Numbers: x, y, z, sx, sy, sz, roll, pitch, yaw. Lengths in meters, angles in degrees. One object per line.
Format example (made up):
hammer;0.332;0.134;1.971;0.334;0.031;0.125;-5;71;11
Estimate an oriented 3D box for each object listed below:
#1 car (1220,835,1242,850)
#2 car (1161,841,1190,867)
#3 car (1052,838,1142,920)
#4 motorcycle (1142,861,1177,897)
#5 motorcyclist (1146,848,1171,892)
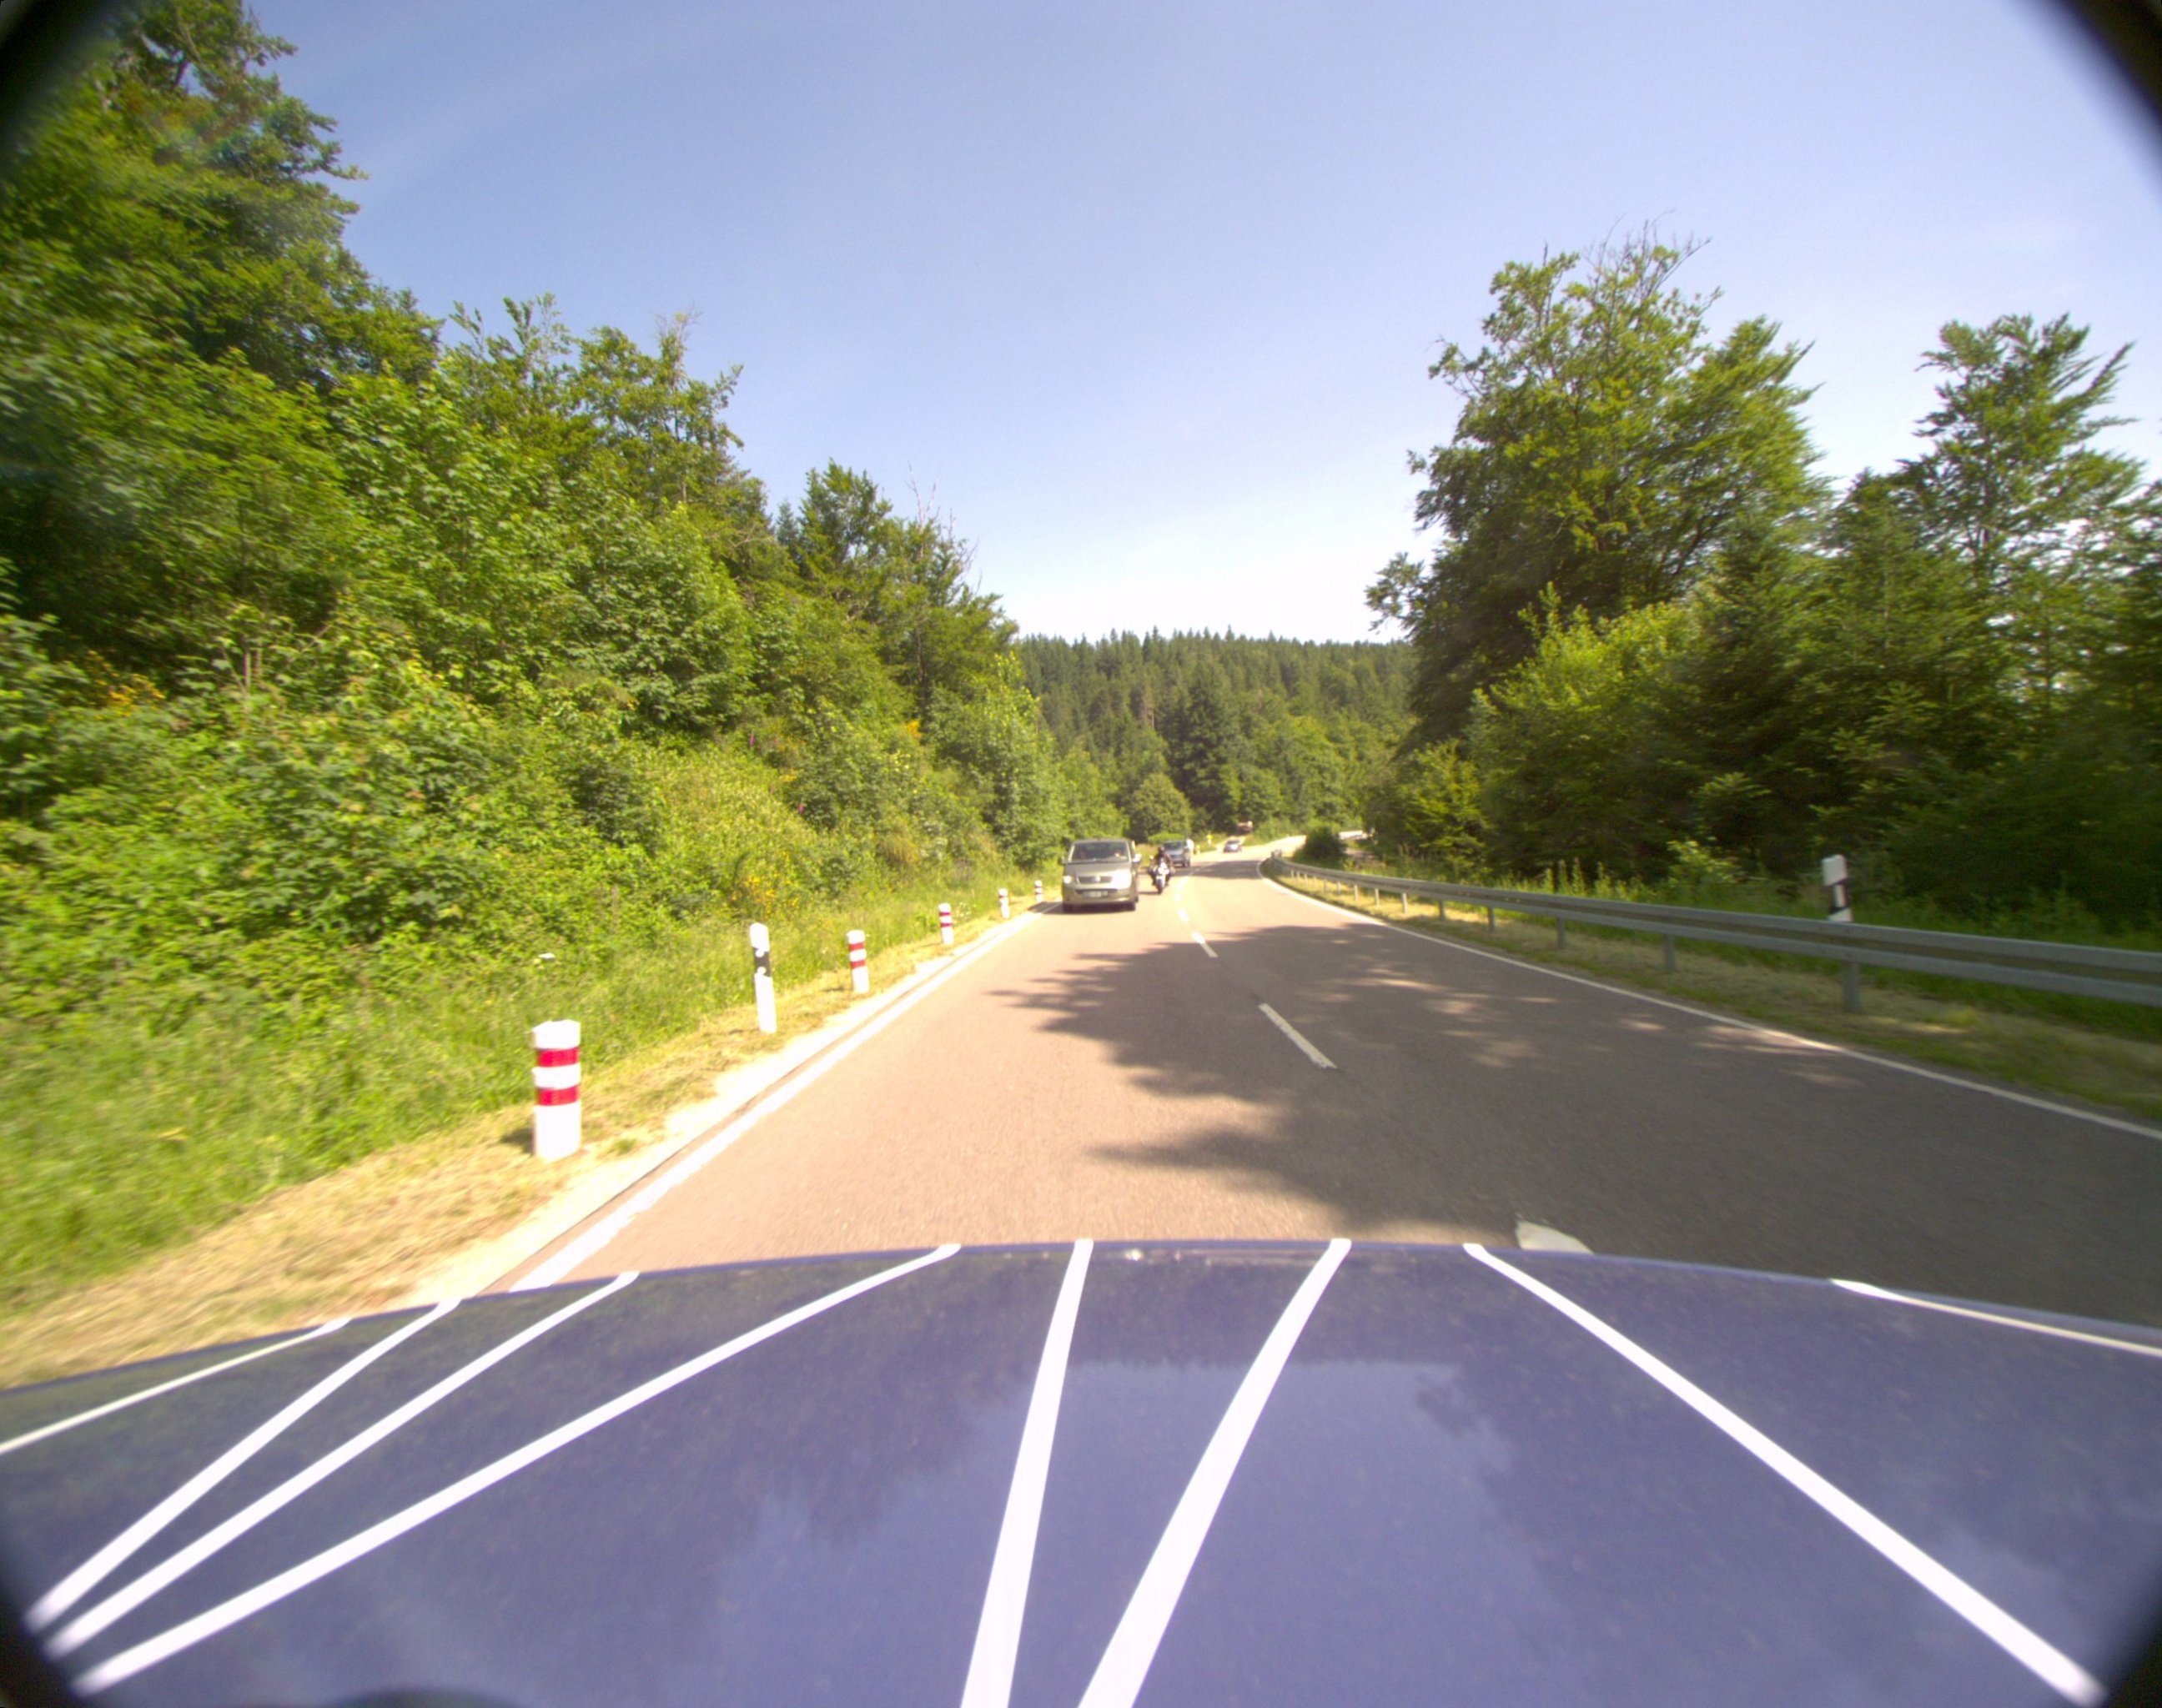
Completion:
car;17.313;-1.355;87.481;1.996;1.634;4.004;-3;1;18
car;6.741;-0.032;54.099;1.651;1.749;3.797;-2;1;12
car;0.587;0.581;21.113;2.028;1.940;4.900;-2;1;6
motorcycle;2.750;0.849;26.392;1.109;1.117;1.962;-2;1;7
motorcyclist;2.696;0.542;26.204;0.716;1.422;1.000;-4;0;8
